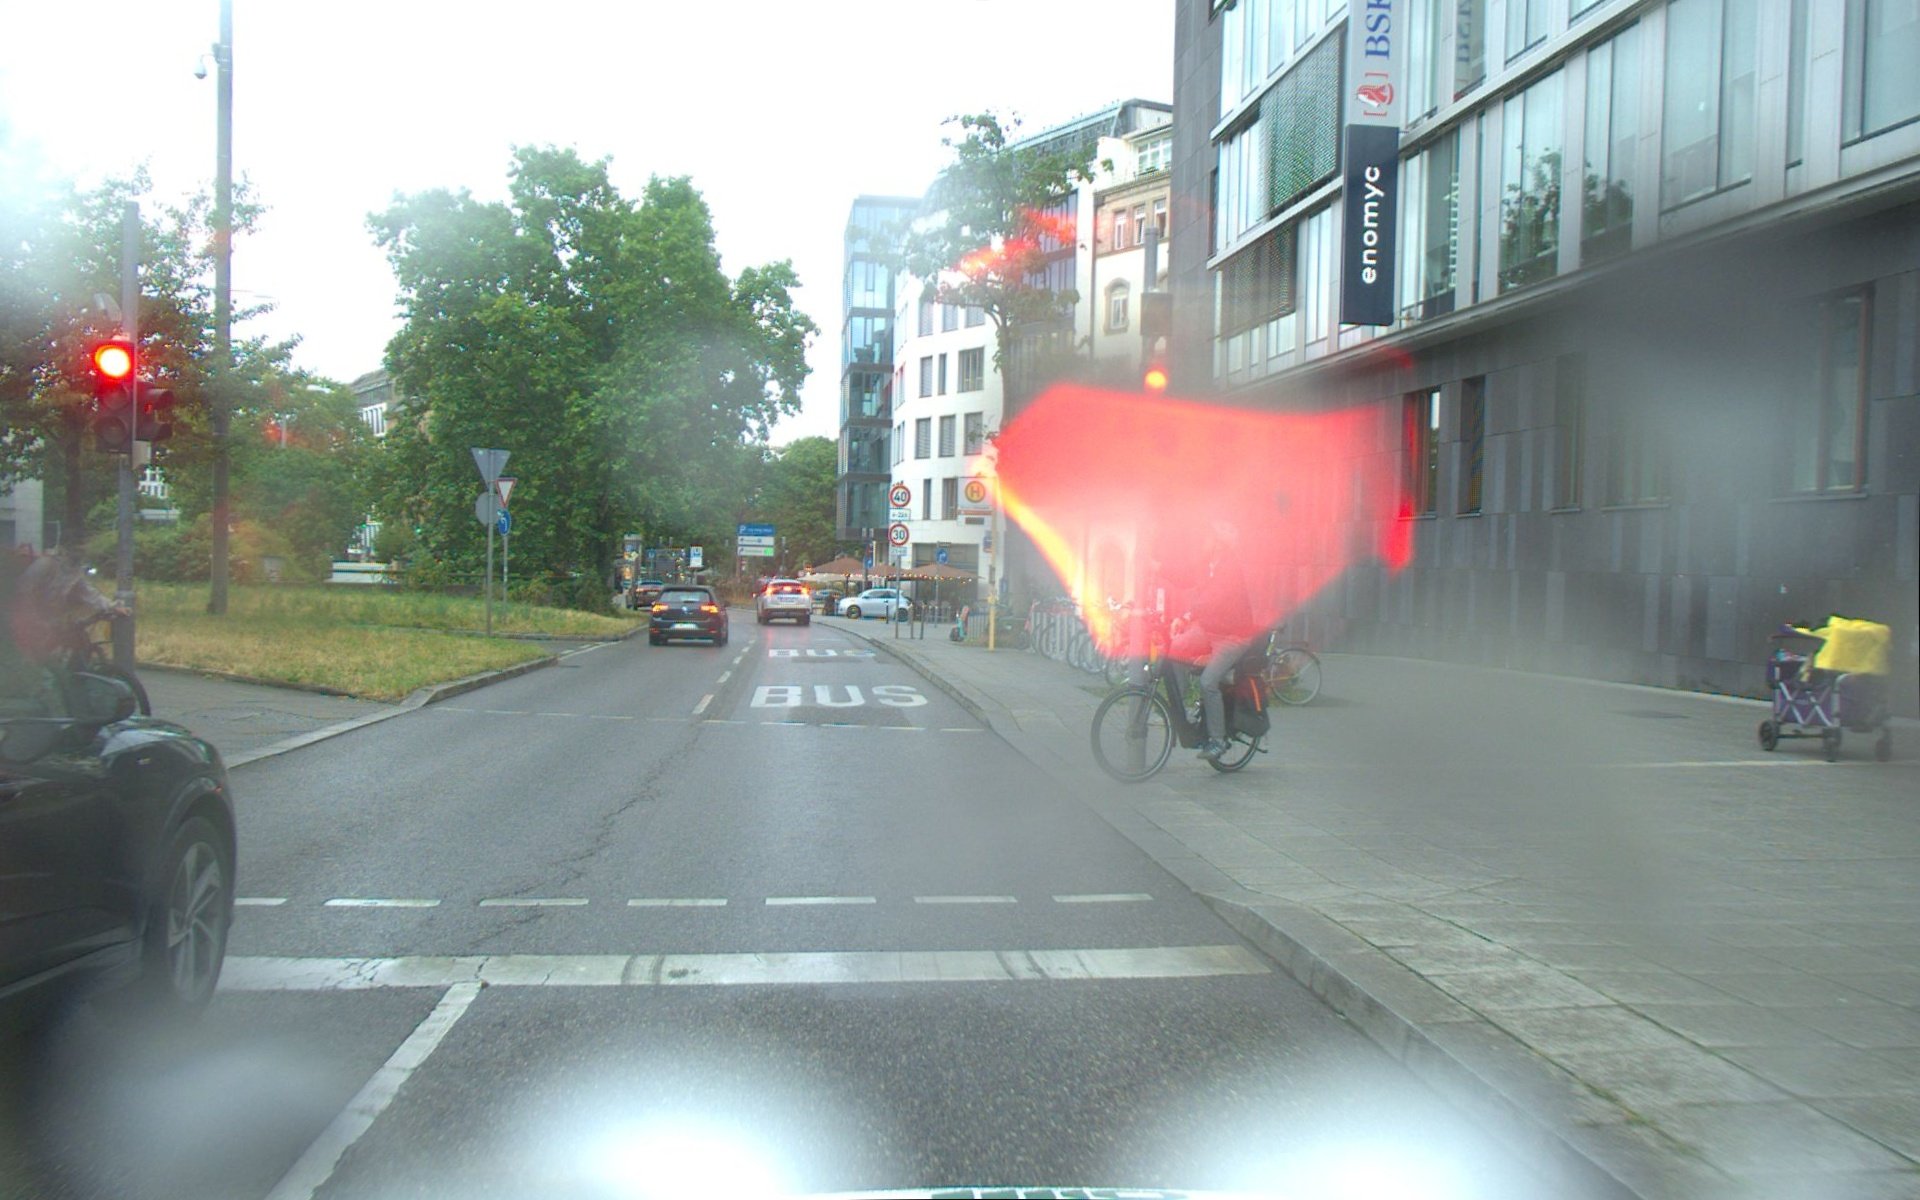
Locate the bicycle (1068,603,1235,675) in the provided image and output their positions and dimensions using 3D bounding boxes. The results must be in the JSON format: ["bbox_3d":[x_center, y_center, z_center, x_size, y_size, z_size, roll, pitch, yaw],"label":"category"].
[{"bbox_3d":[2.962,0.597,25.672,2.488,1.078,0.676,1,0,-7],"label":"bicycle"}]

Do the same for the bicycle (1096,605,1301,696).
[{"bbox_3d":[3.034,0.642,21.111,2.488,1.106,0.676,1,0,-7],"label":"bicycle"}]

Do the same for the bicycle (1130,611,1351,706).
[{"bbox_3d":[3.321,0.687,19.646,2.488,1.075,0.676,1,0,-7],"label":"bicycle"}]

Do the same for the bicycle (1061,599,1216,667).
[{"bbox_3d":[2.990,0.554,27.780,2.488,1.106,0.676,1,0,-7],"label":"bicycle"}]

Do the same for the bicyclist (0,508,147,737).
[{"bbox_3d":[-6.956,0.142,12.352,1.109,1.609,1.015,4,0,17],"label":"bicyclist"}]

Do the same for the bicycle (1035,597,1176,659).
[{"bbox_3d":[2.665,0.515,30.336,2.488,1.106,0.676,1,0,-7],"label":"bicycle"}]

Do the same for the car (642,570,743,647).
[{"bbox_3d":[-6.480,0.173,40.442,2.120,1.735,4.548,2,0,-6],"label":"car"}]

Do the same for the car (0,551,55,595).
[{"bbox_3d":[-34.739,-1.010,60.534,1.774,1.512,3.985,3,0,-14],"label":"car"}]

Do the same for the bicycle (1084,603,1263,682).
[{"bbox_3d":[3.086,0.611,23.999,2.488,1.106,0.676,1,0,-7],"label":"bicycle"}]

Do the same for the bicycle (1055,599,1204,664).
[{"bbox_3d":[2.936,0.546,28.756,2.488,1.106,0.676,1,0,-7],"label":"bicycle"}]

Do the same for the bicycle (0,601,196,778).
[{"bbox_3d":[-6.924,0.619,12.328,2.018,1.133,1.012,4,0,17],"label":"bicycle"}]

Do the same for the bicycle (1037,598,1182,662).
[{"bbox_3d":[2.664,0.535,29.583,2.488,1.106,0.676,1,0,-7],"label":"bicycle"}]

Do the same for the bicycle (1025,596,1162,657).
[{"bbox_3d":[2.505,0.495,31.218,2.488,1.106,0.676,1,0,-7],"label":"bicycle"}]

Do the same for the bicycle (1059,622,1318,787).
[{"bbox_3d":[1.801,0.762,12.814,2.112,1.165,0.752,1,0,-39],"label":"bicycle"}]

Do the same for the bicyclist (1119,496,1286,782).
[{"bbox_3d":[1.893,0.289,12.888,1.074,2.119,0.752,1,0,-39],"label":"bicyclist"}]

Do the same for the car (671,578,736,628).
[{"bbox_3d":[-9.273,0.079,59.494,1.912,1.675,4.229,2,0,-14],"label":"car"}]

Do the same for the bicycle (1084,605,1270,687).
[{"bbox_3d":[3.026,0.635,23.141,2.488,1.106,0.676,1,0,-7],"label":"bicycle"}]

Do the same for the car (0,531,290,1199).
[{"bbox_3d":[-3.212,0.624,3.865,1.812,1.644,4.248,2,1,-5],"label":"car"}]

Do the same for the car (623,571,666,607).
[{"bbox_3d":[-15.400,-0.552,80.662,1.911,1.675,3.987,2,0,-13],"label":"car"}]

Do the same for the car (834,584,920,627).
[{"bbox_3d":[-4.010,0.266,79.426,3.911,1.675,1.998,6,0,-6],"label":"car"}]

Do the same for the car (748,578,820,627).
[{"bbox_3d":[-6.707,0.057,62.706,2.142,1.730,3.985,2,0,-15],"label":"car"}]

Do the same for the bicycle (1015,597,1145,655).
[{"bbox_3d":[2.359,0.506,32.682,2.488,1.106,0.626,1,0,-7],"label":"bicycle"}]

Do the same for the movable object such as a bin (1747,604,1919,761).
[{"bbox_3d":[7.774,0.701,14.760,0.717,1.286,1.443,-1,1,-5],"label":"movable object such as a bin"}]

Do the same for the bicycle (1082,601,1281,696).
[{"bbox_3d":[2.924,0.639,21.910,2.488,1.106,0.676,3,0,-7],"label":"bicycle"}]

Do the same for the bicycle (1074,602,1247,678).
[{"bbox_3d":[2.995,0.600,24.806,2.488,1.106,0.676,1,0,-7],"label":"bicycle"}]

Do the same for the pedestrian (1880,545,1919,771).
[{"bbox_3d":[8.146,0.458,13.259,0.883,1.823,1.045,-1,1,-8],"label":"pedestrian"}]

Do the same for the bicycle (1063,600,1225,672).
[{"bbox_3d":[2.951,0.576,26.580,2.488,1.106,0.676,1,0,-7],"label":"bicycle"}]

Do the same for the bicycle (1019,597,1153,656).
[{"bbox_3d":[2.426,0.502,31.962,2.488,1.106,0.676,1,0,-7],"label":"bicycle"}]
